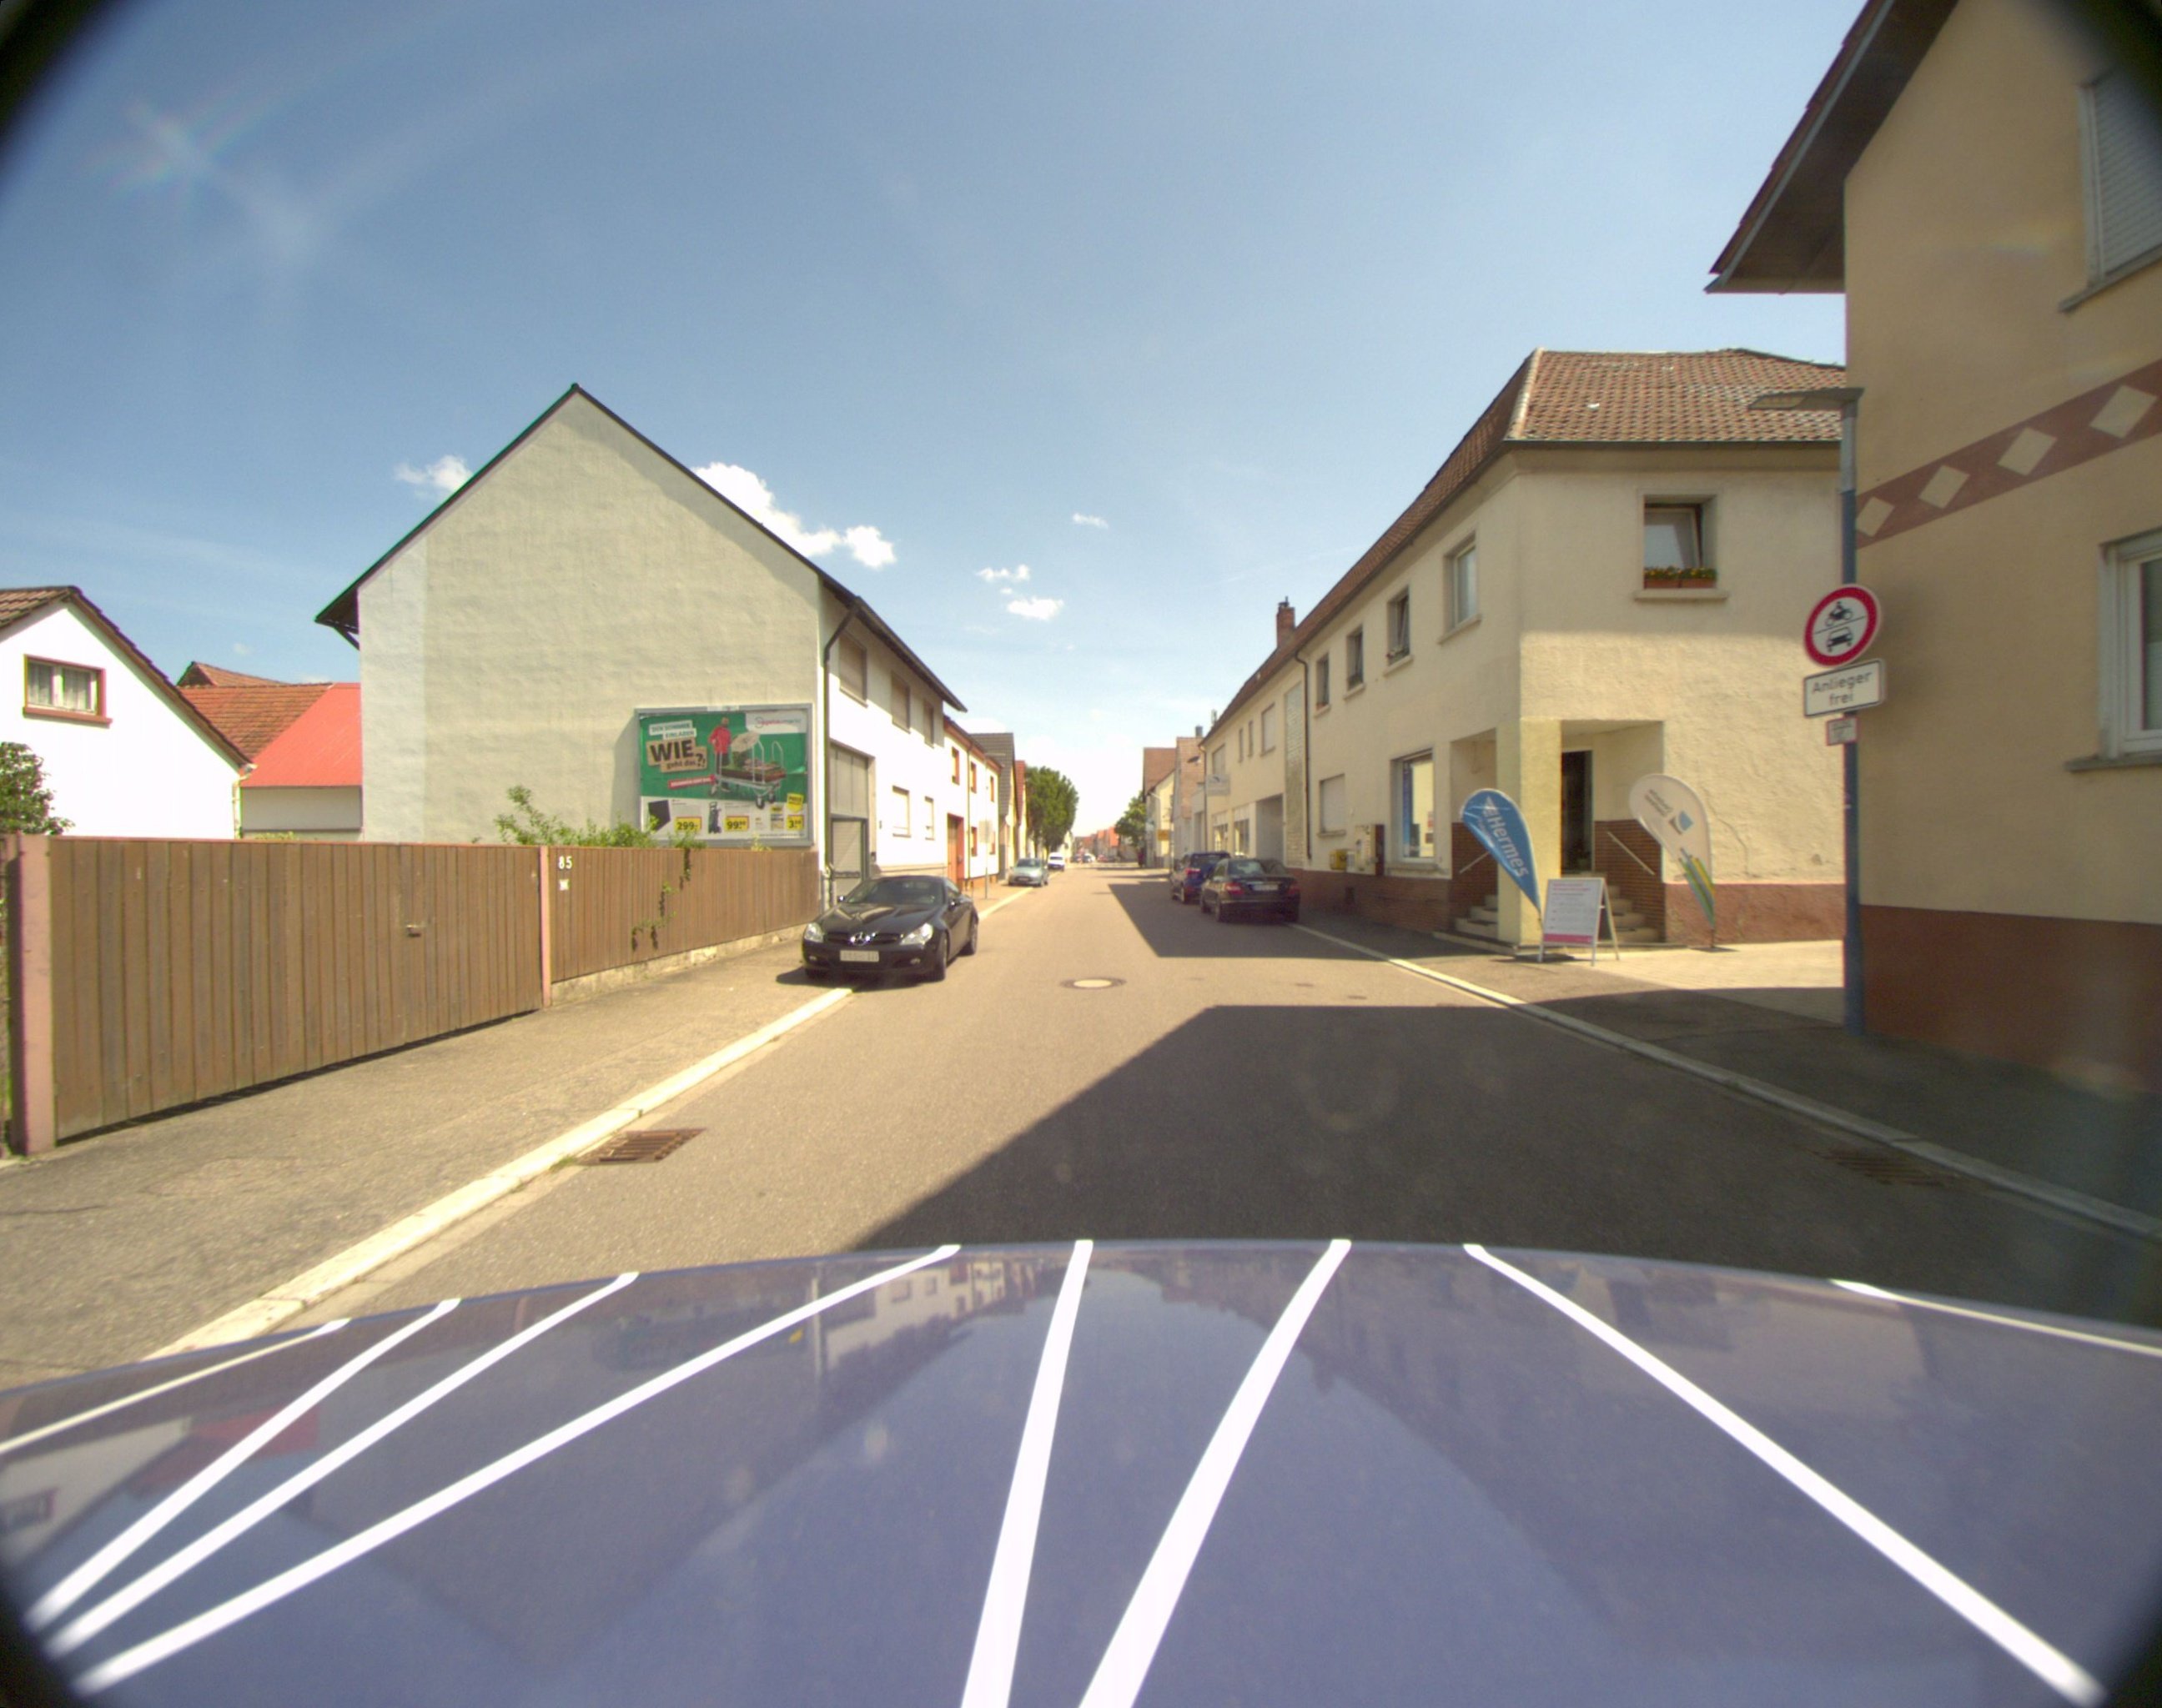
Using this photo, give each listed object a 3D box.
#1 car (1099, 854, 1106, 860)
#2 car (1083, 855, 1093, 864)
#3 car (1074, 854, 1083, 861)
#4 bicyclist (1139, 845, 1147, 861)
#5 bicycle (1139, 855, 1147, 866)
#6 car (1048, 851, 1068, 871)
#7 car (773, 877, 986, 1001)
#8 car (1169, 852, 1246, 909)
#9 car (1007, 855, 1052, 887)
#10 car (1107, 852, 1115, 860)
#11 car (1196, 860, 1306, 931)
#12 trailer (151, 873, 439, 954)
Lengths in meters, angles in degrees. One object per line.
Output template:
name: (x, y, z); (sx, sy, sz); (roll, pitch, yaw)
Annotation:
car: (4.668, 0.640, 165.539); (1.598, 1.385, 4.168); (-2, 0, 1)
car: (1.228, 0.946, 133.181); (1.598, 1.533, 4.201); (-2, 1, 3)
car: (-0.532, 0.878, 172.208); (1.848, 1.385, 4.169); (-1, -2, -2)
bicyclist: (6.294, -0.064, 77.650); (0.748, 1.627, 0.956); (-1, 1, 4)
bicycle: (6.301, 0.665, 77.569); (0.744, 1.041, 1.940); (-1, 0, 4)
car: (-2.239, 0.658, 75.759); (1.692, 1.832, 4.764); (2, 0, 1)
car: (-2.578, 1.044, 10.829); (1.820, 1.268, 4.146); (-1, 0, 1)
car: (3.954, 0.781, 24.443); (1.721, 1.630, 4.148); (1, 0, -1)
car: (-2.598, 0.855, 39.078); (1.725, 1.473, 3.751); (3, 1, 5)
car: (6.089, 0.481, 154.436); (1.726, 1.385, 4.170); (-1, -2, 2)
car: (3.886, 0.882, 18.104); (1.702, 1.403, 4.390); (-1, 0, 1)
trailer: (-13.965, 1.009, 13.630); (3.457, 1.251, 1.952); (-1, 0, 10)
